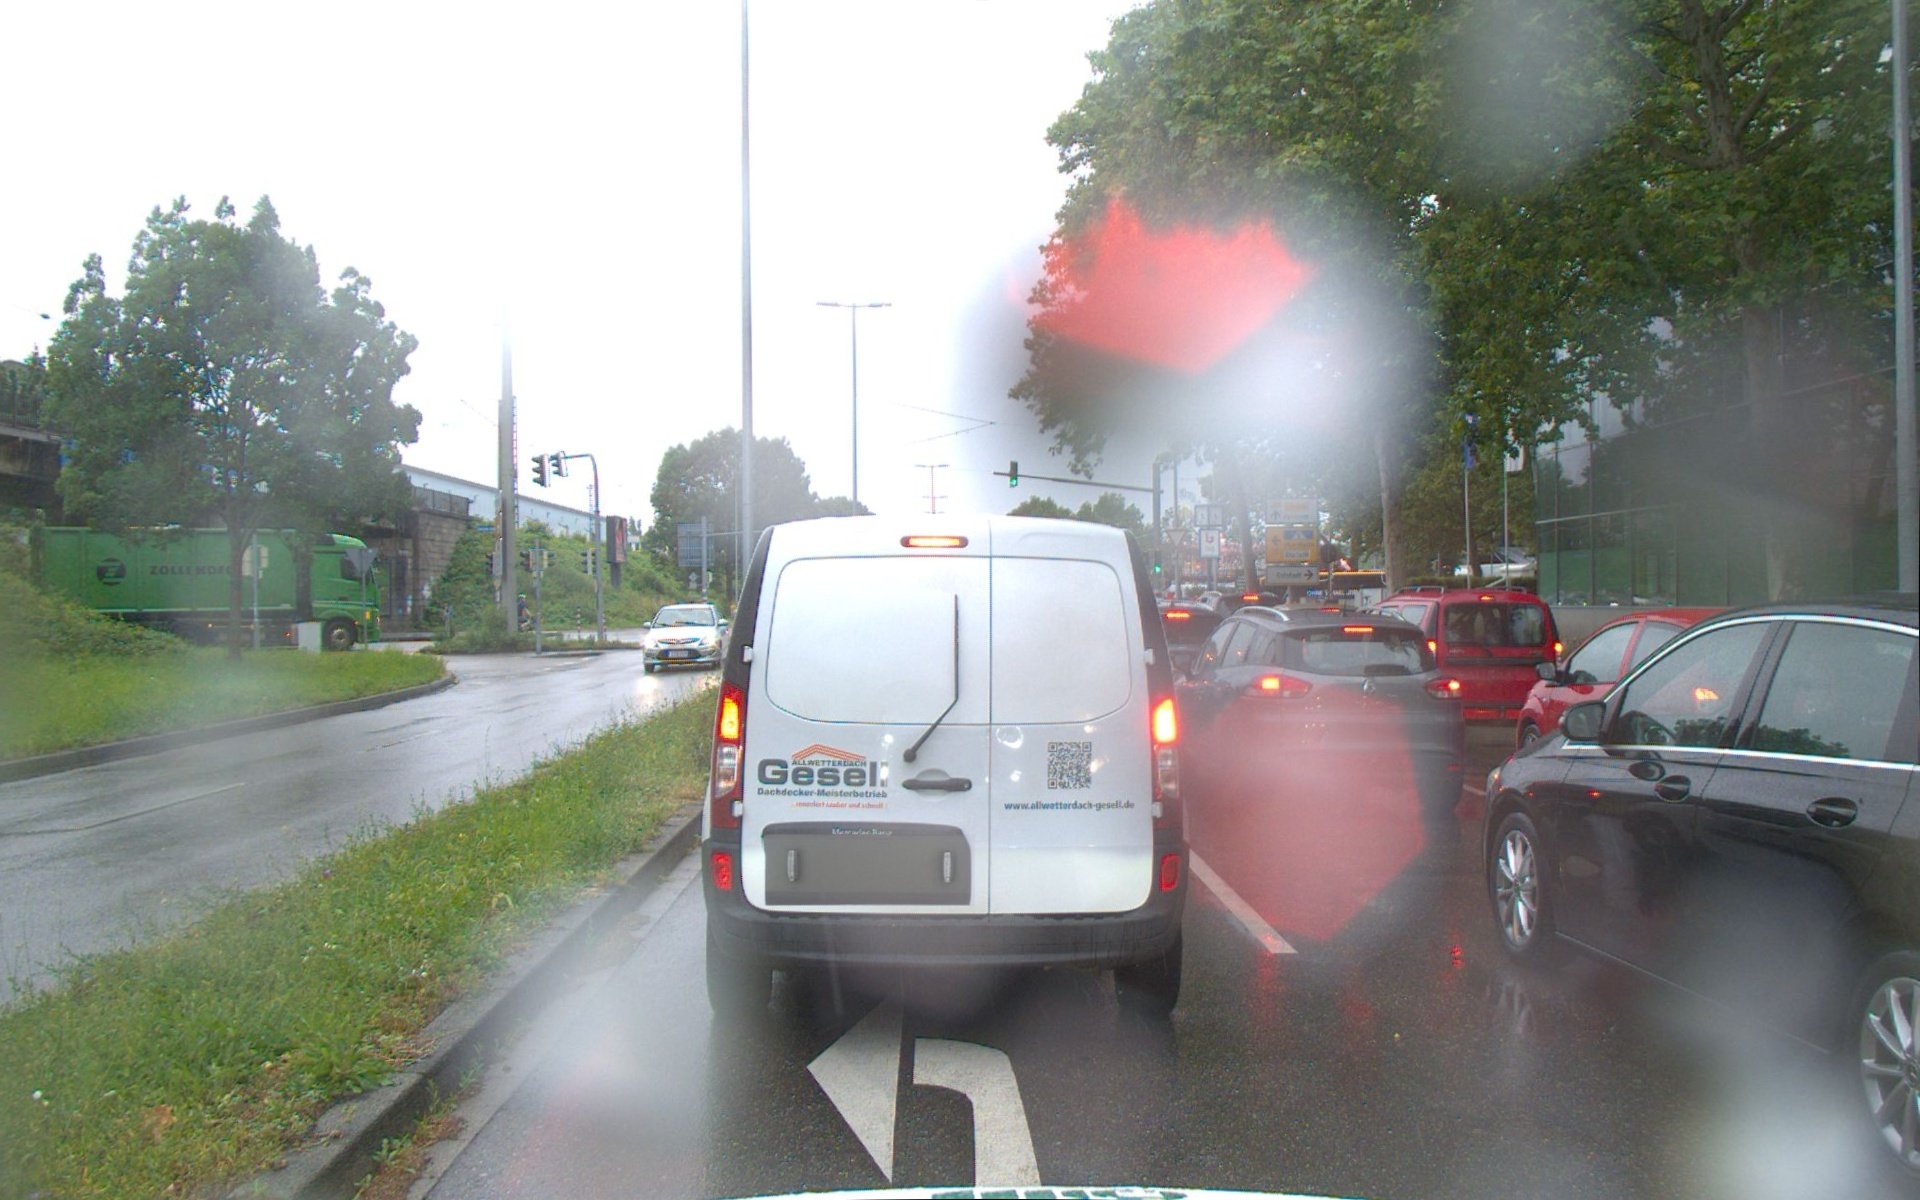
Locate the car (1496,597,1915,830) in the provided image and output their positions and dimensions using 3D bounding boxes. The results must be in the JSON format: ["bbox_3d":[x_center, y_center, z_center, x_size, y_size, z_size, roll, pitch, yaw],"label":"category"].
[{"bbox_3d":[5.408,0.739,12.457,1.537,1.488,3.388,0,0,-2],"label":"car"}]

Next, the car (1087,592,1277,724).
[{"bbox_3d":[2.664,0.649,20.662,1.816,1.486,3.842,0,0,-1],"label":"car"}]

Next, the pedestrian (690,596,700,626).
[{"bbox_3d":[-15.354,0.623,95.859,0.532,1.746,0.563,1,-1,-5],"label":"pedestrian"}]

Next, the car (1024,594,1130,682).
[{"bbox_3d":[2.310,0.730,33.546,1.816,1.678,3.842,0,0,-1],"label":"car"}]

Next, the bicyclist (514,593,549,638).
[{"bbox_3d":[-14.336,0.508,55.318,1.028,1.475,0.723,-1,1,-26],"label":"bicyclist"}]

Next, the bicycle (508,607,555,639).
[{"bbox_3d":[-14.355,0.761,55.339,1.027,0.968,2.866,-1,1,-25],"label":"bicycle"}]

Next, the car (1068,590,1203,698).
[{"bbox_3d":[2.875,0.678,27.892,1.816,1.678,3.842,0,0,-1],"label":"car"}]

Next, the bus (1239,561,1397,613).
[{"bbox_3d":[25.455,-0.951,117.388,11.811,3.483,2.465,-1,1,-24],"label":"bus"}]

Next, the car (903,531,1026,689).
[{"bbox_3d":[0.044,0.131,26.415,1.816,2.336,3.842,0,0,-1],"label":"car"}]

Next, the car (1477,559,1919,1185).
[{"bbox_3d":[3.248,0.687,5.446,1.712,1.582,4.089,0,0,-2],"label":"car"}]

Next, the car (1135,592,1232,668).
[{"bbox_3d":[5.174,0.678,38.648,1.674,1.678,3.842,1,0,-1],"label":"car"}]

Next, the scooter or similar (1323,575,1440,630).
[{"bbox_3d":[19.672,0.097,77.359,1.878,2.489,5.239,0,0,-41],"label":"scooter or similar"}]

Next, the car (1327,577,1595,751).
[{"bbox_3d":[5.515,0.664,18.770,1.676,1.724,4.271,1,-1,-1],"label":"car"}]

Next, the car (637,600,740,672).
[{"bbox_3d":[-6.267,0.801,38.602,1.779,1.488,3.999,-3,0,-2],"label":"car"}]

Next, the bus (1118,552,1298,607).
[{"bbox_3d":[16.599,-1.398,111.150,11.727,3.483,2.315,-1,1,-1],"label":"bus"}]

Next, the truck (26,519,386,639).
[{"bbox_3d":[-23.162,-0.631,51.329,9.957,3.430,2.316,0,0,-37],"label":"truck"}]

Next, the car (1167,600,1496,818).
[{"bbox_3d":[2.770,0.740,13.159,1.649,1.433,3.842,1,0,-2],"label":"car"}]

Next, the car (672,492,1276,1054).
[{"bbox_3d":[0.015,0.539,7.641,1.953,1.807,4.584,0,0,-1],"label":"car"}]
